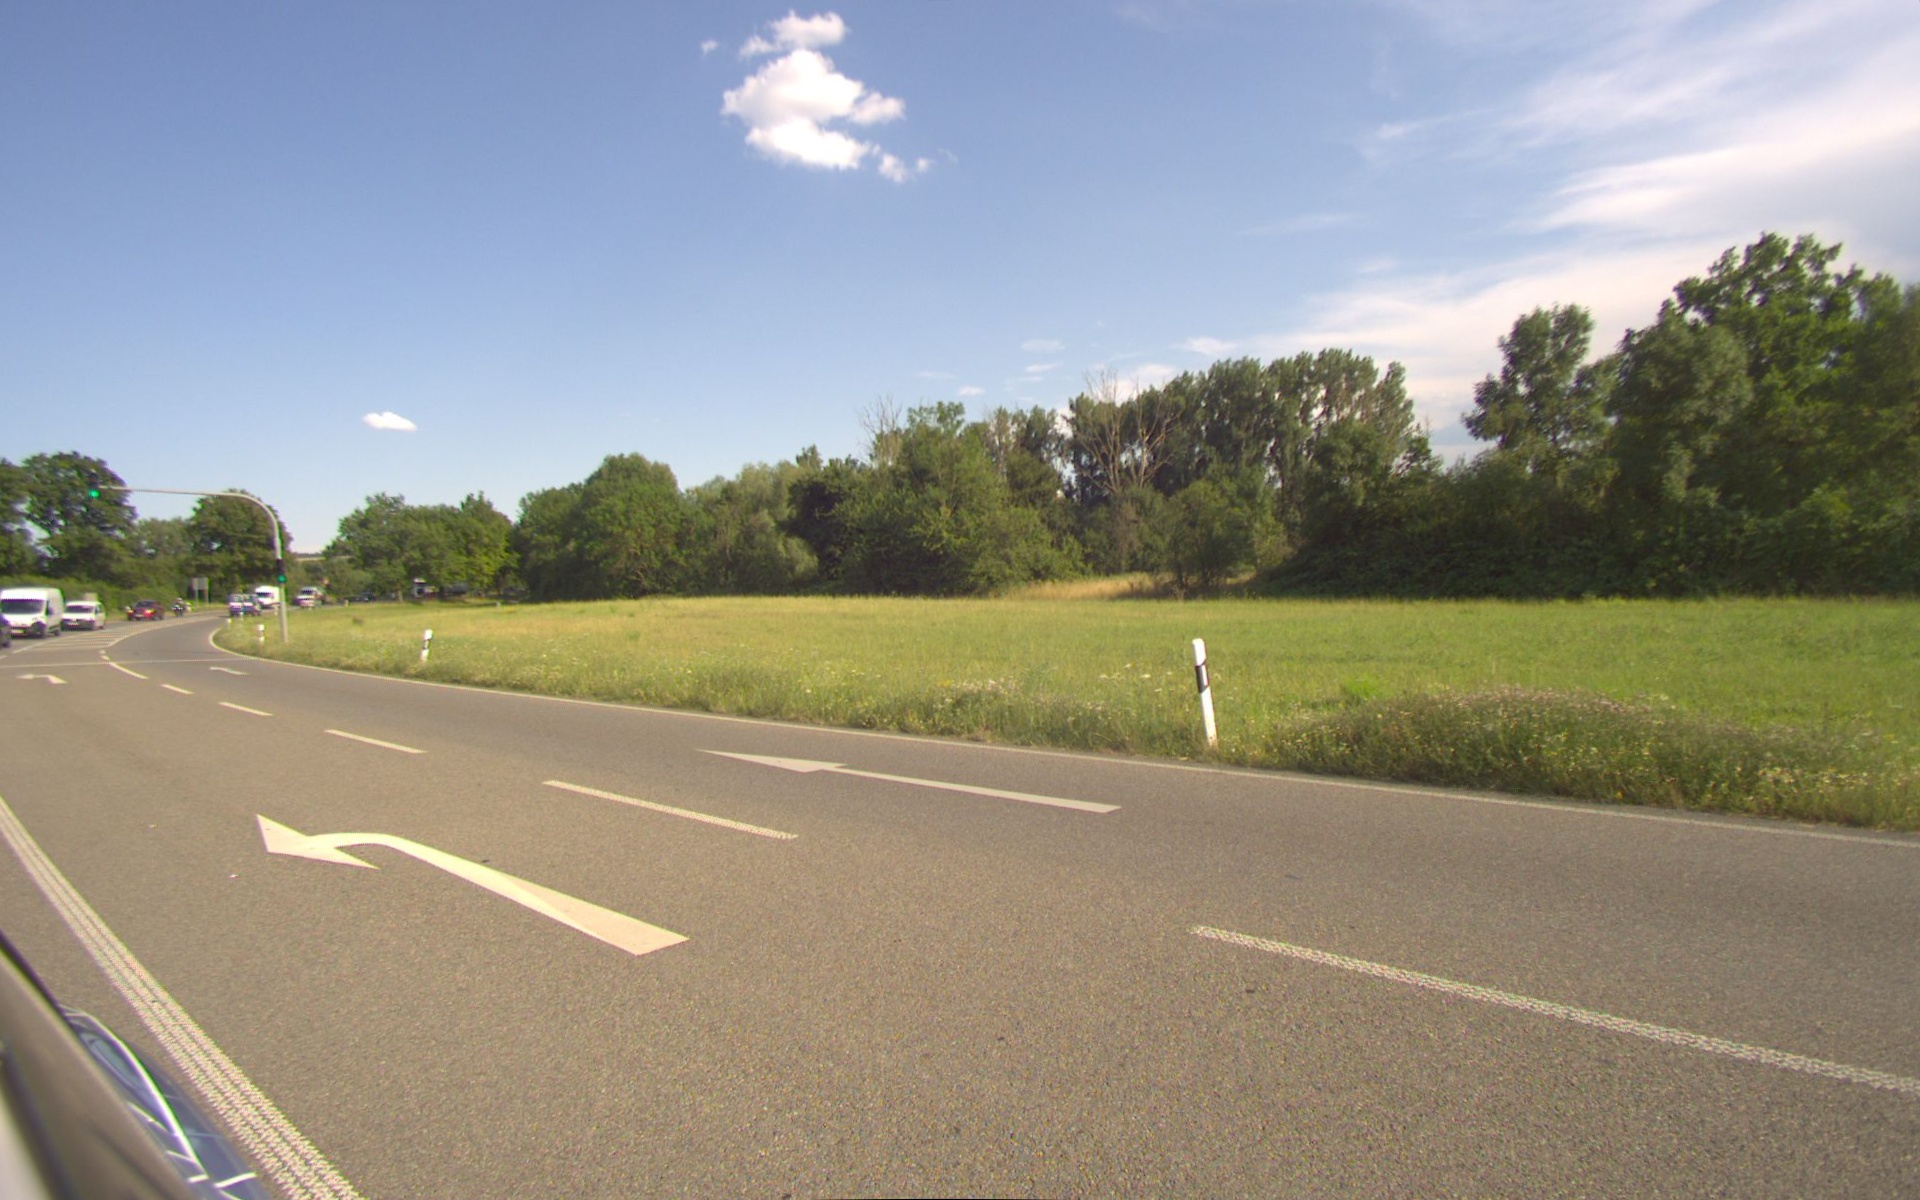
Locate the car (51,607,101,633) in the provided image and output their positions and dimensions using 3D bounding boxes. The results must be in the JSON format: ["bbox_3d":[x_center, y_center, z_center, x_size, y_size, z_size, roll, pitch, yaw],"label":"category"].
[{"bbox_3d":[-54.581,1.221,62.526,1.646,1.490,3.505,-3,1,-30],"label":"car"}]

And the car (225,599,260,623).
[{"bbox_3d":[-67.093,0.998,94.700,1.970,2.153,4.794,-1,0,-28],"label":"car"}]

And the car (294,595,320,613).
[{"bbox_3d":[-80.621,0.496,125.009,1.756,2.028,3.857,-3,1,-20],"label":"car"}]

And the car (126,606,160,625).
[{"bbox_3d":[-67.593,1.260,83.761,1.646,1.490,3.505,-3,1,-30],"label":"car"}]

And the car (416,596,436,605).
[{"bbox_3d":[-93.781,0.132,177.709,1.568,1.478,3.606,0,-1,1],"label":"car"}]

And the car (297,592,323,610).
[{"bbox_3d":[-90.662,0.099,141.211,1.965,2.405,4.952,-3,1,-22],"label":"car"}]

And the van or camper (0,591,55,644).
[{"bbox_3d":[-47.734,0.881,51.504,2.002,2.494,5.088,-3,1,-37],"label":"van or camper"}]
